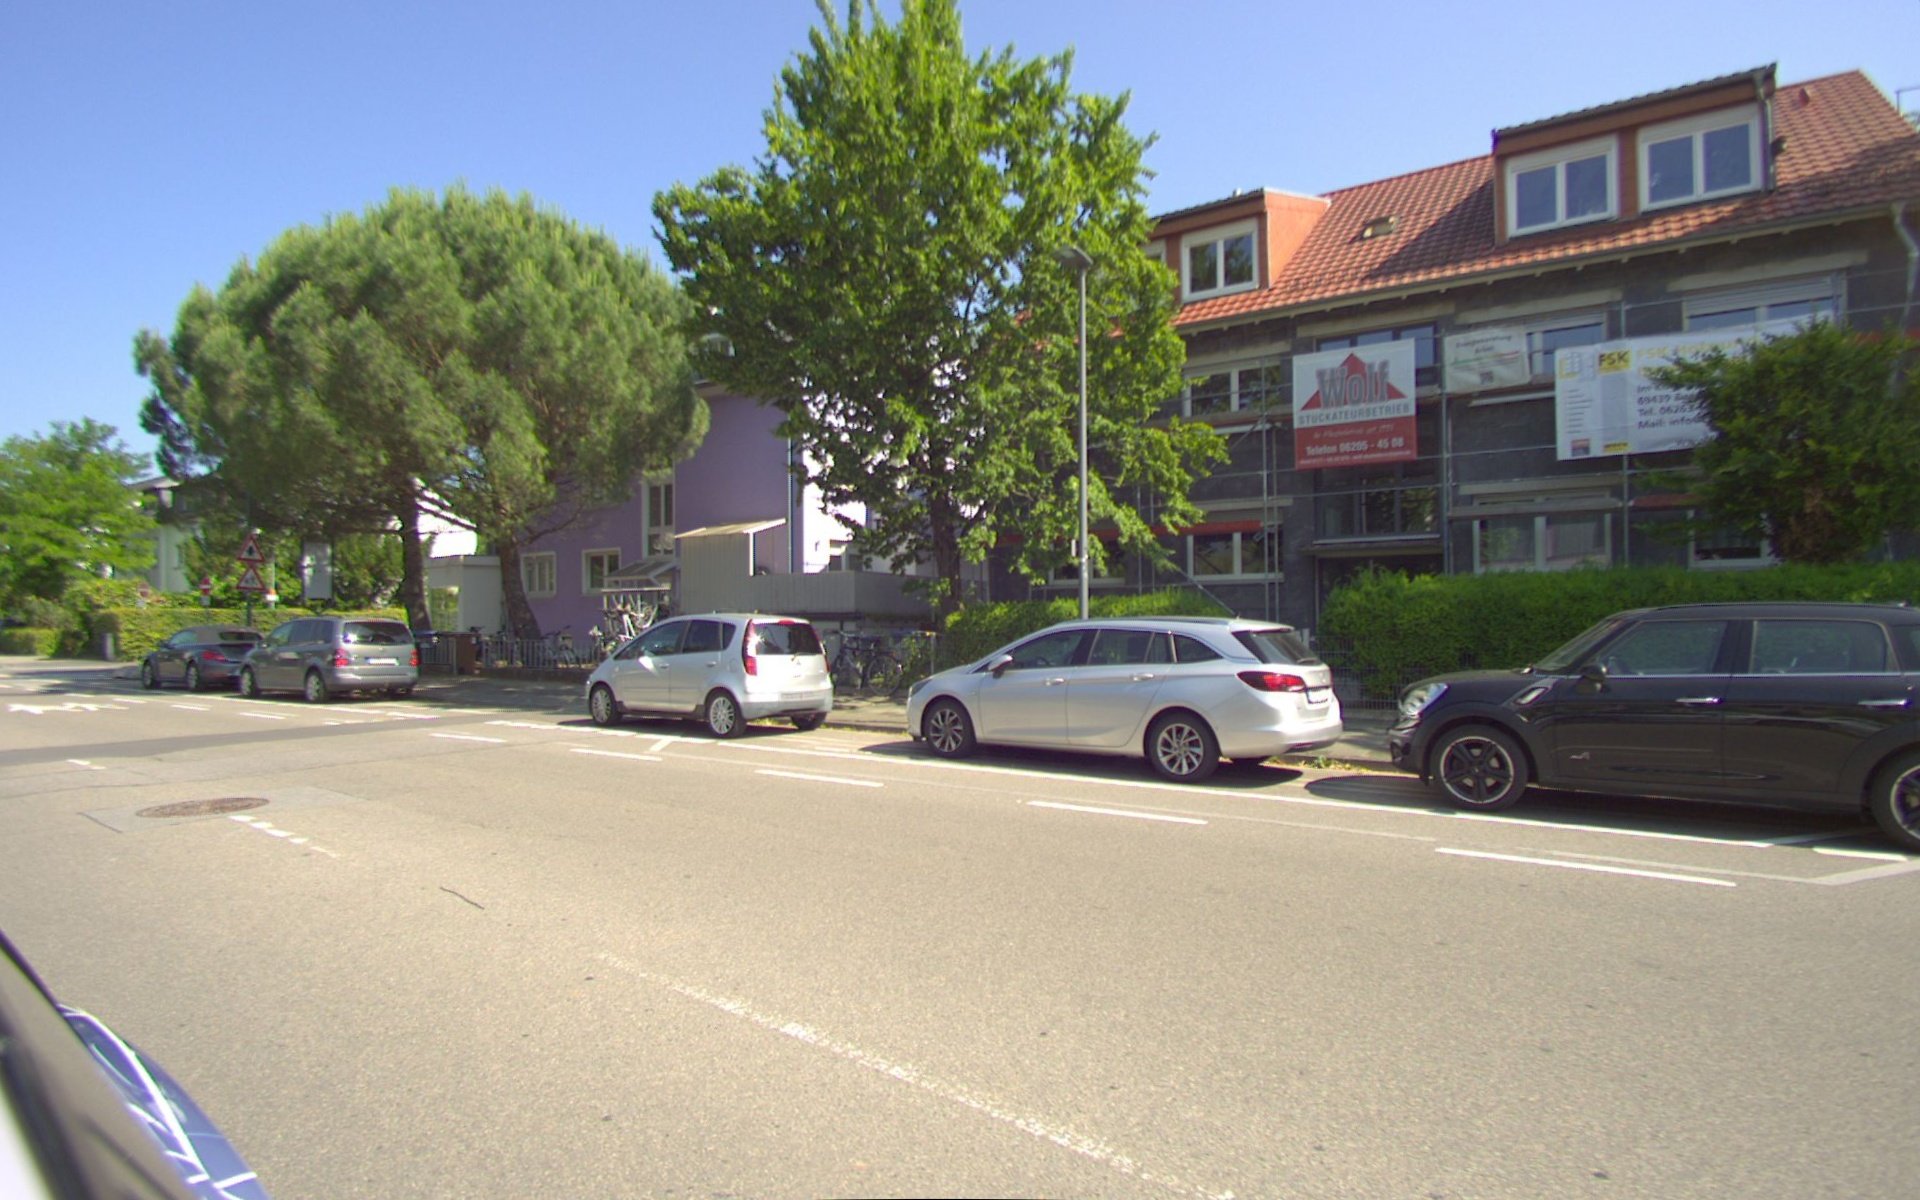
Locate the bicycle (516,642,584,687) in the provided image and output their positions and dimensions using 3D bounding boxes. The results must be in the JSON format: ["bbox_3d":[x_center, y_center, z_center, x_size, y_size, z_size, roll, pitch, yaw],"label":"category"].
[{"bbox_3d":[-9.181,1.423,22.636,1.909,0.961,0.454,-2,-2,36],"label":"bicycle"}]

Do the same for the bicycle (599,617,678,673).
[{"bbox_3d":[-8.322,1.156,26.328,0.501,1.394,2.155,-2,-3,32],"label":"bicycle"}]

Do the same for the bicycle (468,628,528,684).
[{"bbox_3d":[-10.890,1.306,23.826,1.910,1.276,0.453,-1,-1,37],"label":"bicycle"}]

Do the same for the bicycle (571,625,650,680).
[{"bbox_3d":[-9.241,1.388,26.885,0.501,1.394,2.155,-2,-3,32],"label":"bicycle"}]

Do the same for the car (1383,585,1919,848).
[{"bbox_3d":[5.396,0.747,7.355,3.992,1.571,1.704,-2,-3,36],"label":"car"}]

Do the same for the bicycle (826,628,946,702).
[{"bbox_3d":[-1.266,1.058,16.951,2.236,1.148,0.508,-1,-1,38],"label":"bicycle"}]

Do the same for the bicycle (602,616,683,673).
[{"bbox_3d":[-8.042,1.121,25.739,0.501,1.394,2.155,-2,-3,32],"label":"bicycle"}]

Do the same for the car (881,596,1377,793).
[{"bbox_3d":[1.525,0.844,10.188,4.663,1.571,1.704,-2,-3,36],"label":"car"}]

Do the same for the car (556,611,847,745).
[{"bbox_3d":[-3.586,1.002,13.773,3.992,1.571,1.704,-2,-3,36],"label":"car"}]

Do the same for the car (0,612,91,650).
[{"bbox_3d":[-46.062,1.568,50.471,2.001,1.830,3.941,-3,-3,45],"label":"car"}]

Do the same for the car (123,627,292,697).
[{"bbox_3d":[-17.161,1.382,23.041,4.183,1.468,1.825,-2,-3,35],"label":"car"}]

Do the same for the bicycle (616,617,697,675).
[{"bbox_3d":[-7.587,1.143,25.426,0.501,1.394,2.155,-2,-3,32],"label":"bicycle"}]

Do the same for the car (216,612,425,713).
[{"bbox_3d":[-12.629,1.188,19.905,4.574,1.778,1.825,-2,-3,35],"label":"car"}]

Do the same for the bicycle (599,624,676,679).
[{"bbox_3d":[-8.566,1.361,26.968,0.501,1.394,2.155,-2,-3,32],"label":"bicycle"}]
